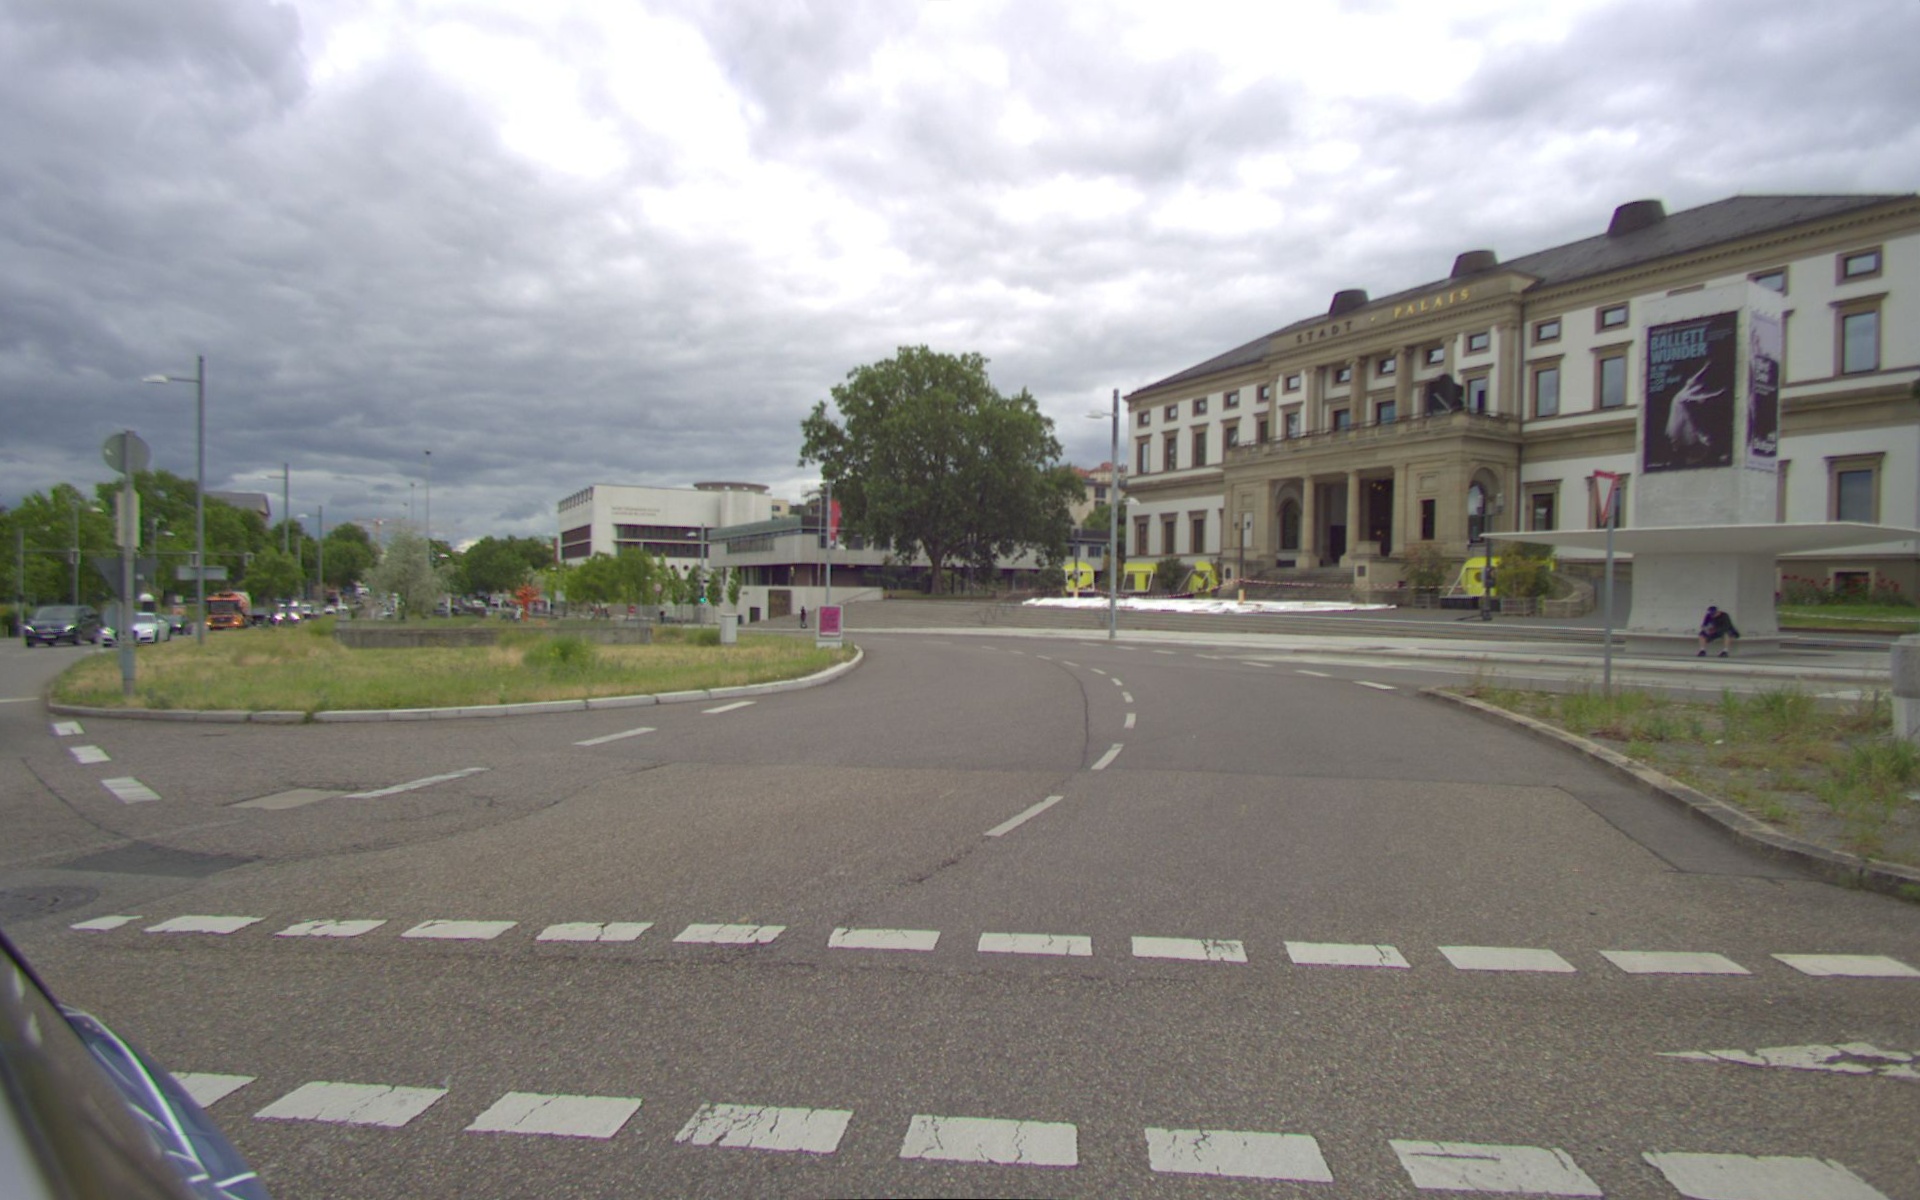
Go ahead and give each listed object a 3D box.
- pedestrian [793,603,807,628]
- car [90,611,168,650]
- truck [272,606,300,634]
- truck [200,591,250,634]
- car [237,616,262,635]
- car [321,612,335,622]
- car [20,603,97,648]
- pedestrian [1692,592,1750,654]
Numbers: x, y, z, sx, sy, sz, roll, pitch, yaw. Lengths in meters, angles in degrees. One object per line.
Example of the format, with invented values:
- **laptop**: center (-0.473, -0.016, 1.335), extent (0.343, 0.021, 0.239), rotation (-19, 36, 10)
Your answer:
- **pedestrian**: center (-11.401, 1.106, 72.192), extent (0.672, 1.761, 0.893), rotation (-1, 0, -35)
- **car**: center (-36.556, 1.290, 44.620), extent (2.061, 1.621, 4.425), rotation (1, -1, -32)
- **truck**: center (-71.265, 2.050, 107.040), extent (1.923, 2.805, 5.807), rotation (-1, 0, -29)
- **truck**: center (-65.974, 1.073, 90.973), extent (2.682, 3.643, 9.206), rotation (-1, 0, -30)
- **car**: center (-74.228, 2.617, 105.791), extent (1.753, 1.922, 3.810), rotation (-1, -1, -30)
- **car**: center (-114.869, 3.043, 184.004), extent (1.753, 1.859, 3.811), rotation (-1, 0, -26)
- **car**: center (-41.943, 1.153, 47.185), extent (1.829, 2.003, 4.655), rotation (1, -1, -31)
- **pedestrian**: center (16.927, 0.501, 22.519), extent (0.694, 1.363, 0.763), rotation (-1, 0, -24)
